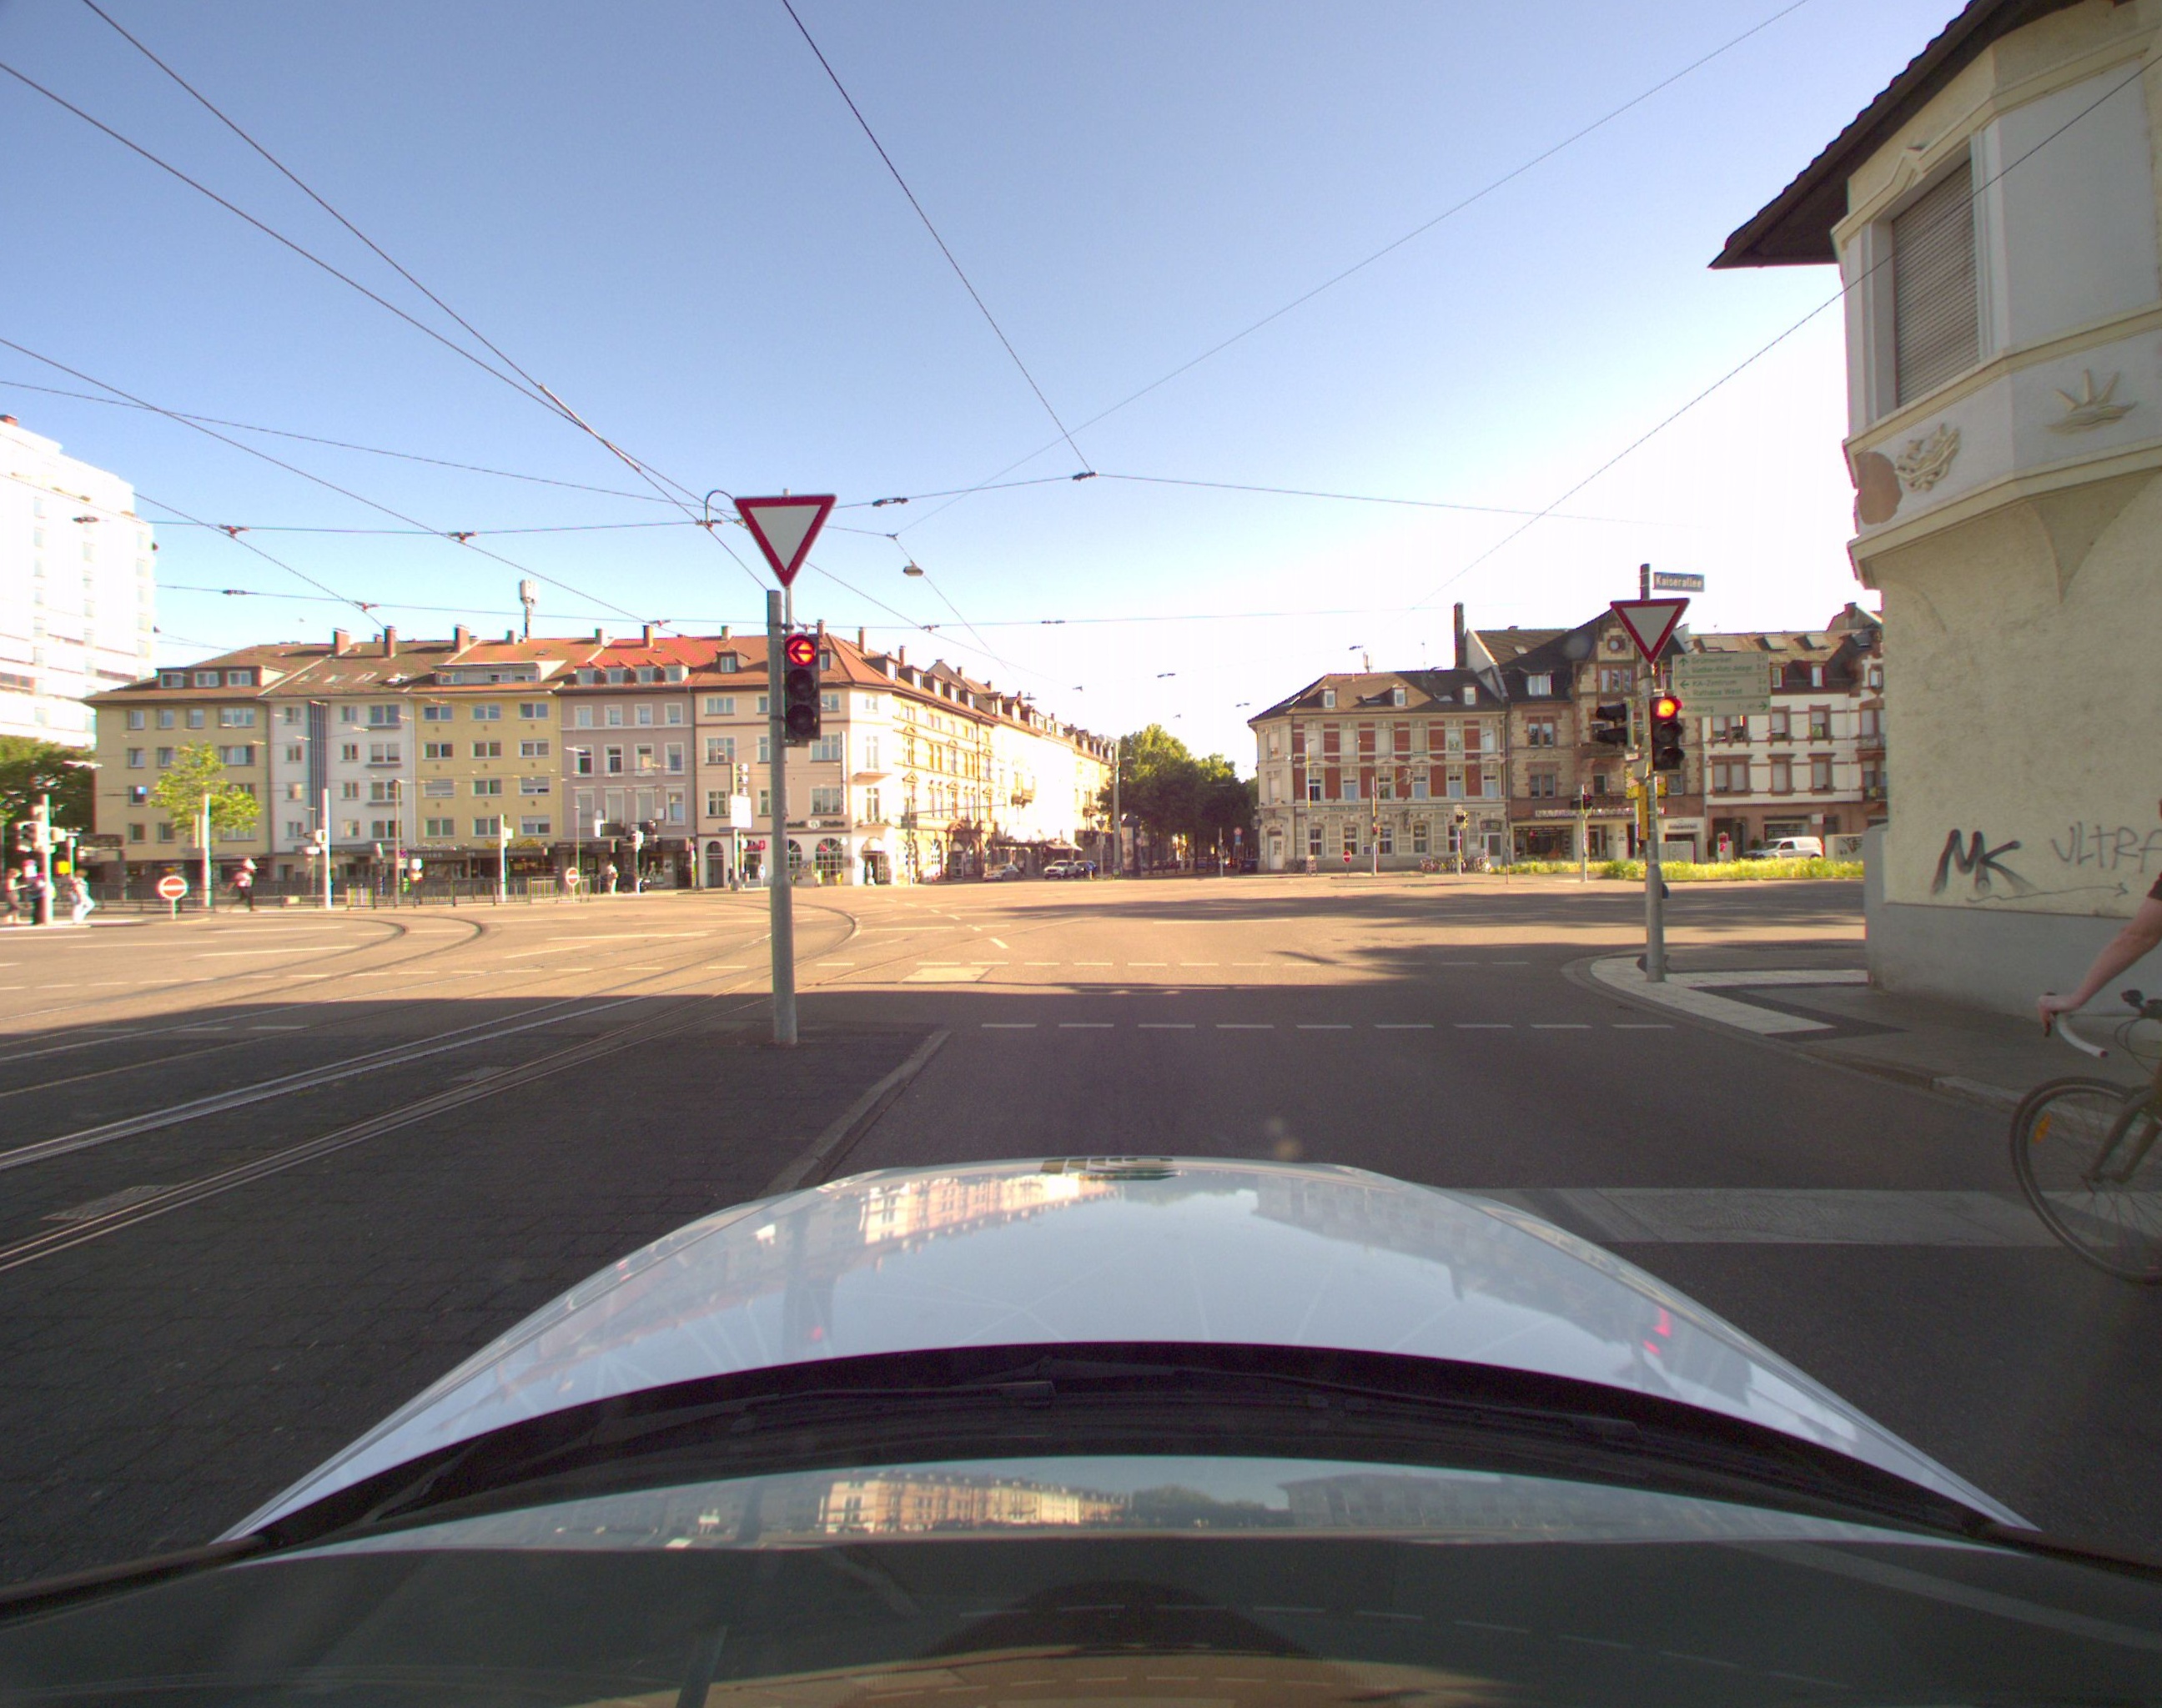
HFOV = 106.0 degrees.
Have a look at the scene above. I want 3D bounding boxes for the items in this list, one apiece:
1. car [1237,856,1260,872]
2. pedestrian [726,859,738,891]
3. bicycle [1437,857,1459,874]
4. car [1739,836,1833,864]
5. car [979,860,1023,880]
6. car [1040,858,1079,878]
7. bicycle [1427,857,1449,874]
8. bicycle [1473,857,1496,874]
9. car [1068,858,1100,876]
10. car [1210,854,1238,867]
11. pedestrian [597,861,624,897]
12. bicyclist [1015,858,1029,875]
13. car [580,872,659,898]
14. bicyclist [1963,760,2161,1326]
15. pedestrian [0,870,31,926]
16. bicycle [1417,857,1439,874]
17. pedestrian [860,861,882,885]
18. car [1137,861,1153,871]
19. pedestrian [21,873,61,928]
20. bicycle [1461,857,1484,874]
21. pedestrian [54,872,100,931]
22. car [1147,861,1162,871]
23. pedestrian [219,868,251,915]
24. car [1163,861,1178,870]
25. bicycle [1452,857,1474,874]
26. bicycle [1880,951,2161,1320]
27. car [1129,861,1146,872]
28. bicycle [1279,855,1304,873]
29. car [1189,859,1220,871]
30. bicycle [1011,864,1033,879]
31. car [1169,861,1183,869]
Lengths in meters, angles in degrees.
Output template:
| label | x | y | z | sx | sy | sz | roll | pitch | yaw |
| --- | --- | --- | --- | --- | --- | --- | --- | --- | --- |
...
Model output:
| label | x | y | z | sx | sy | sz | roll | pitch | yaw |
| --- | --- | --- | --- | --- | --- | --- | --- | --- | --- |
| car | 16.906 | 0.995 | 82.054 | 1.637 | 1.524 | 3.772 | -2 | -1 | 20 |
| pedestrian | -22.777 | 1.359 | 53.125 | 0.506 | 2.013 | 0.505 | -1 | 0 | 5 |
| bicycle | 23.814 | 0.733 | 52.873 | 0.603 | 1.051 | 1.641 | -1 | 0 | -3 |
| car | 45.385 | -0.227 | 52.475 | 4.356 | 1.654 | 1.999 | -1 | 0 | -2 |
| car | -6.597 | 1.306 | 67.702 | 2.080 | 1.545 | 4.382 | -1 | 0 | 16 |
| car | -1.729 | 1.165 | 67.372 | 2.080 | 1.499 | 4.017 | -1 | 0 | 16 |
| bicycle | 23.150 | 0.738 | 52.872 | 0.603 | 1.051 | 1.641 | -1 | 0 | -3 |
| bicycle | 26.054 | 0.715 | 52.614 | 0.603 | 1.051 | 1.641 | -1 | 0 | -3 |
| car | 0.292 | 1.154 | 73.695 | 1.979 | 1.513 | 4.015 | -1 | 0 | 14 |
| car | 23.374 | 1.092 | 133.075 | 4.074 | 1.919 | 1.756 | 1 | 0 | 23 |
| pedestrian | -24.569 | 1.311 | 42.559 | 0.871 | 1.818 | 0.811 | -1 | 0 | 2 |
| bicyclist | -4.765 | 0.989 | 65.873 | 0.787 | 1.375 | 1.113 | -1 | 0 | 16 |
| car | -30.274 | 1.993 | 53.535 | 3.978 | 1.464 | 1.998 | -2 | 0 | -4 |
| bicyclist | 3.580 | 0.577 | 2.499 | 0.557 | 1.730 | 1.084 | 0 | -1 | 2 |
| pedestrian | -33.237 | 1.373 | 25.368 | 0.551 | 1.698 | 0.499 | -2 | 0 | 22 |
| bicycle | 22.497 | 0.743 | 52.842 | 0.603 | 1.051 | 1.641 | -1 | 0 | -3 |
| pedestrian | -14.640 | 1.332 | 56.781 | 1.029 | 1.591 | 1.075 | -2 | 0 | 43 |
| car | 9.178 | 1.691 | 115.775 | 1.729 | 1.397 | 4.137 | 1 | 0 | 12 |
| pedestrian | -31.863 | 1.423 | 24.957 | 0.789 | 1.625 | 0.716 | -2 | 0 | 40 |
| bicycle | 25.315 | 0.720 | 52.622 | 0.603 | 1.051 | 1.641 | -1 | 0 | -3 |
| pedestrian | -30.011 | 1.407 | 24.352 | 0.750 | 1.698 | 0.549 | -1 | 0 | -37 |
| car | 11.065 | 1.733 | 122.712 | 1.729 | 1.397 | 4.137 | 1 | 0 | 12 |
| pedestrian | -31.345 | 1.373 | 30.188 | 0.701 | 1.698 | 0.773 | -1 | 0 | -37 |
| car | 14.442 | 1.816 | 131.459 | 1.728 | 1.397 | 4.141 | 1 | 0 | 16 |
| bicycle | 24.640 | 0.725 | 52.572 | 0.603 | 1.051 | 1.641 | -1 | 0 | -3 |
| bicycle | 3.582 | 0.920 | 2.511 | 0.530 | 1.016 | 1.759 | -1 | 0 | 2 |
| car | 7.604 | 1.655 | 110.005 | 1.729 | 1.397 | 4.137 | 1 | 0 | 12 |
| bicycle | 14.697 | 0.694 | 56.942 | 1.625 | 1.222 | 0.609 | -1 | 0 | 18 |
| car | 17.487 | 1.531 | 114.996 | 4.078 | 1.646 | 1.754 | 1 | 0 | 17 |
| bicycle | -4.768 | 1.433 | 65.902 | 0.745 | 1.135 | 2.821 | -1 | 0 | 16 |
| car | 15.866 | 1.840 | 136.206 | 1.728 | 1.397 | 4.141 | 1 | 0 | 16 |
